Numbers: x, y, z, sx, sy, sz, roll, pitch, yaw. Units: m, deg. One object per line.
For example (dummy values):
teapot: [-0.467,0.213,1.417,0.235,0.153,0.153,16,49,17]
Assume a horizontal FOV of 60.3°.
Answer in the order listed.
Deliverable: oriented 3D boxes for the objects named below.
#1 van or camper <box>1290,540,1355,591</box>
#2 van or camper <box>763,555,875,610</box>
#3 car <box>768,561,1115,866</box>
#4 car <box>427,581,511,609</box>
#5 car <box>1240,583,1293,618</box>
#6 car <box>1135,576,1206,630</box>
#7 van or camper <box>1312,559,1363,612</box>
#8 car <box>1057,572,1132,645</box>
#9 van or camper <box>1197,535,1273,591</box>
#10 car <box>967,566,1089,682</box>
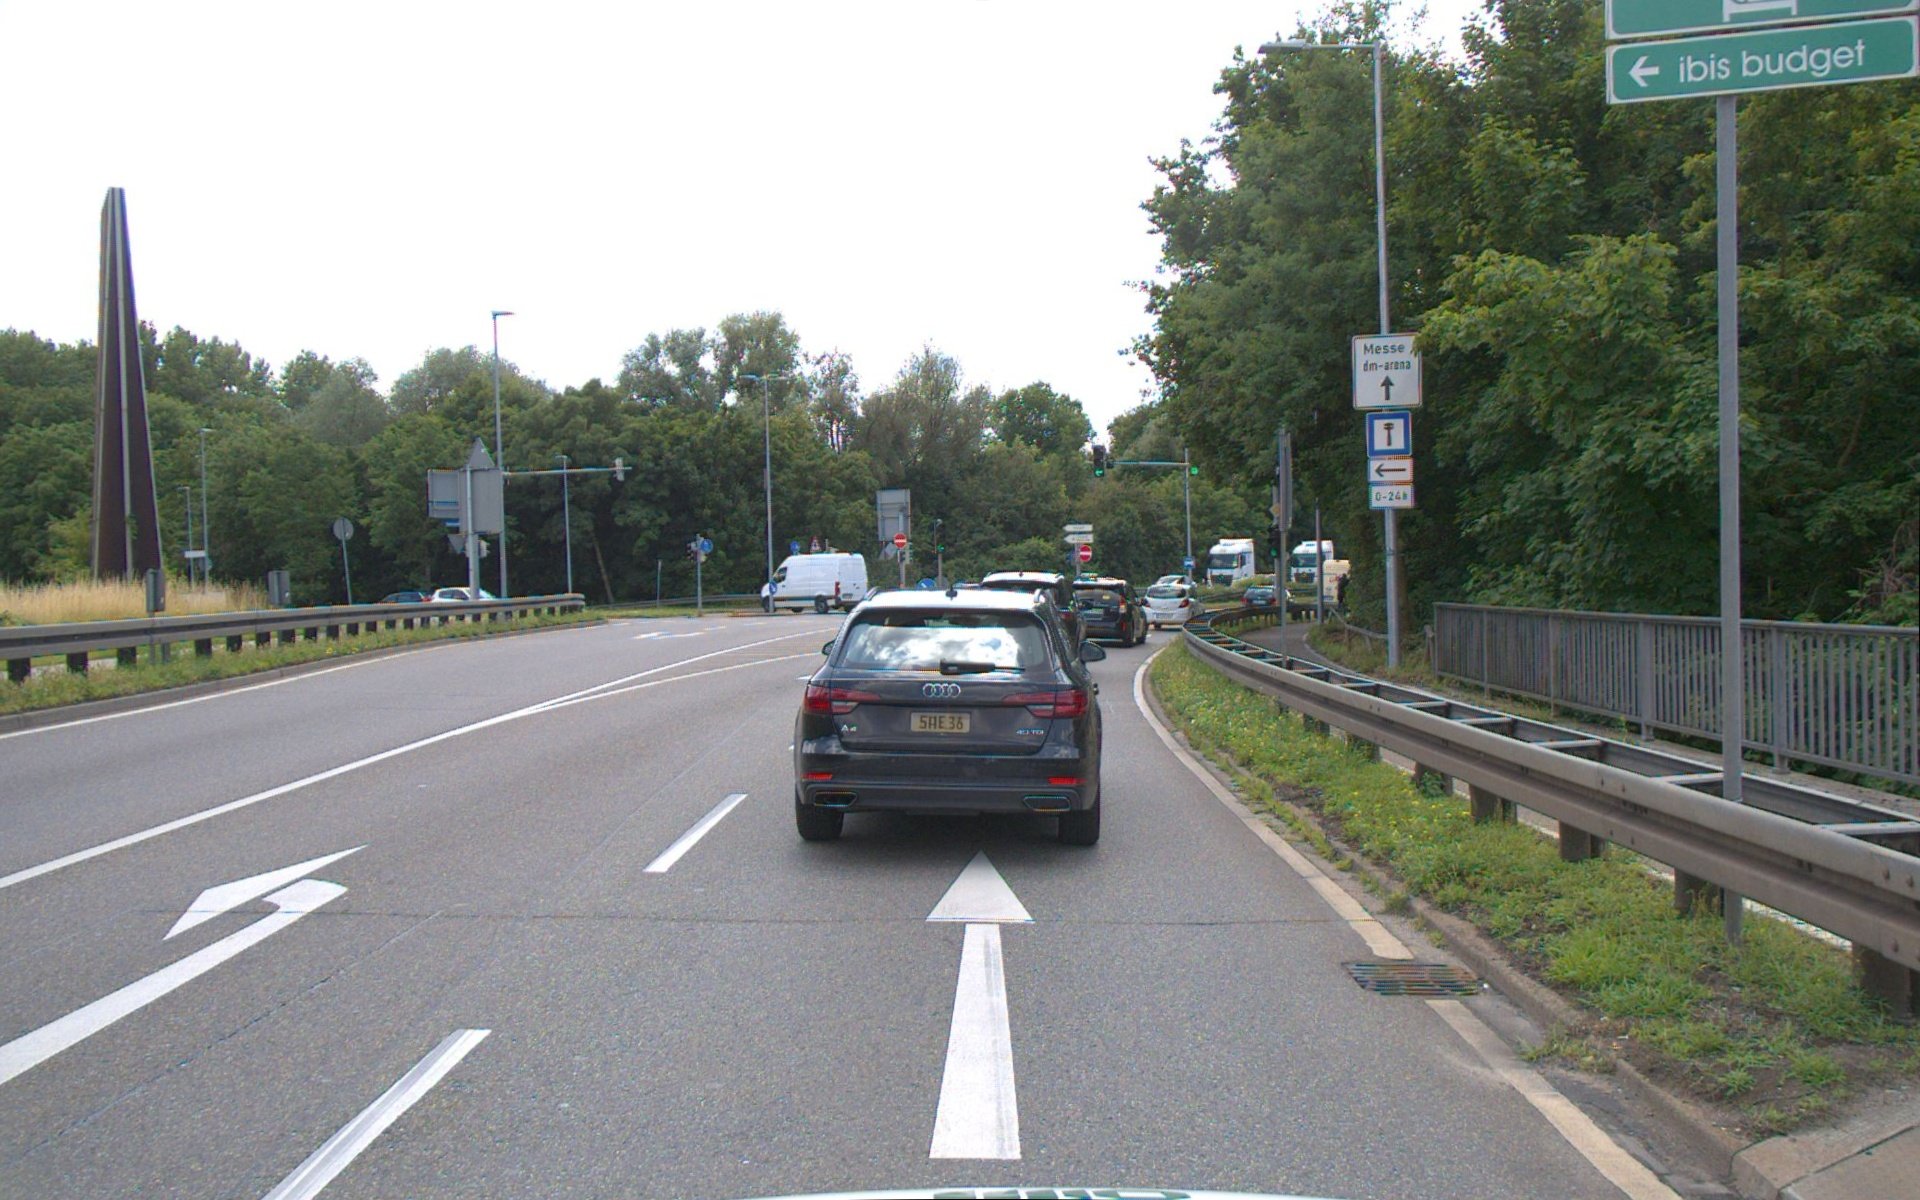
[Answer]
van or camper: [27.656,-2.642,126.018,2.848,3.678,8.006,2,2,27]
van or camper: [-6.467,-0.817,75.436,5.151,2.381,2.265,2,1,44]
car: [0.048,0.535,10.627,1.789,1.517,4.210,0,2,4]
car: [-21.142,-0.215,71.166,3.515,1.136,1.589,1,0,33]
car: [12.999,0.005,69.981,1.648,1.422,3.680,0,0,20]
car: [6.853,0.061,53.604,1.697,1.680,3.858,1,1,16]
van or camper: [19.548,-0.750,85.442,1.953,2.635,4.090,1,1,21]
car: [3.319,0.179,40.315,1.697,1.680,3.859,0,1,6]
van or camper: [19.169,-2.573,114.882,2.848,3.678,8.123,2,2,26]
car: [1.052,0.333,26.365,1.783,1.680,3.857,1,1,1]
